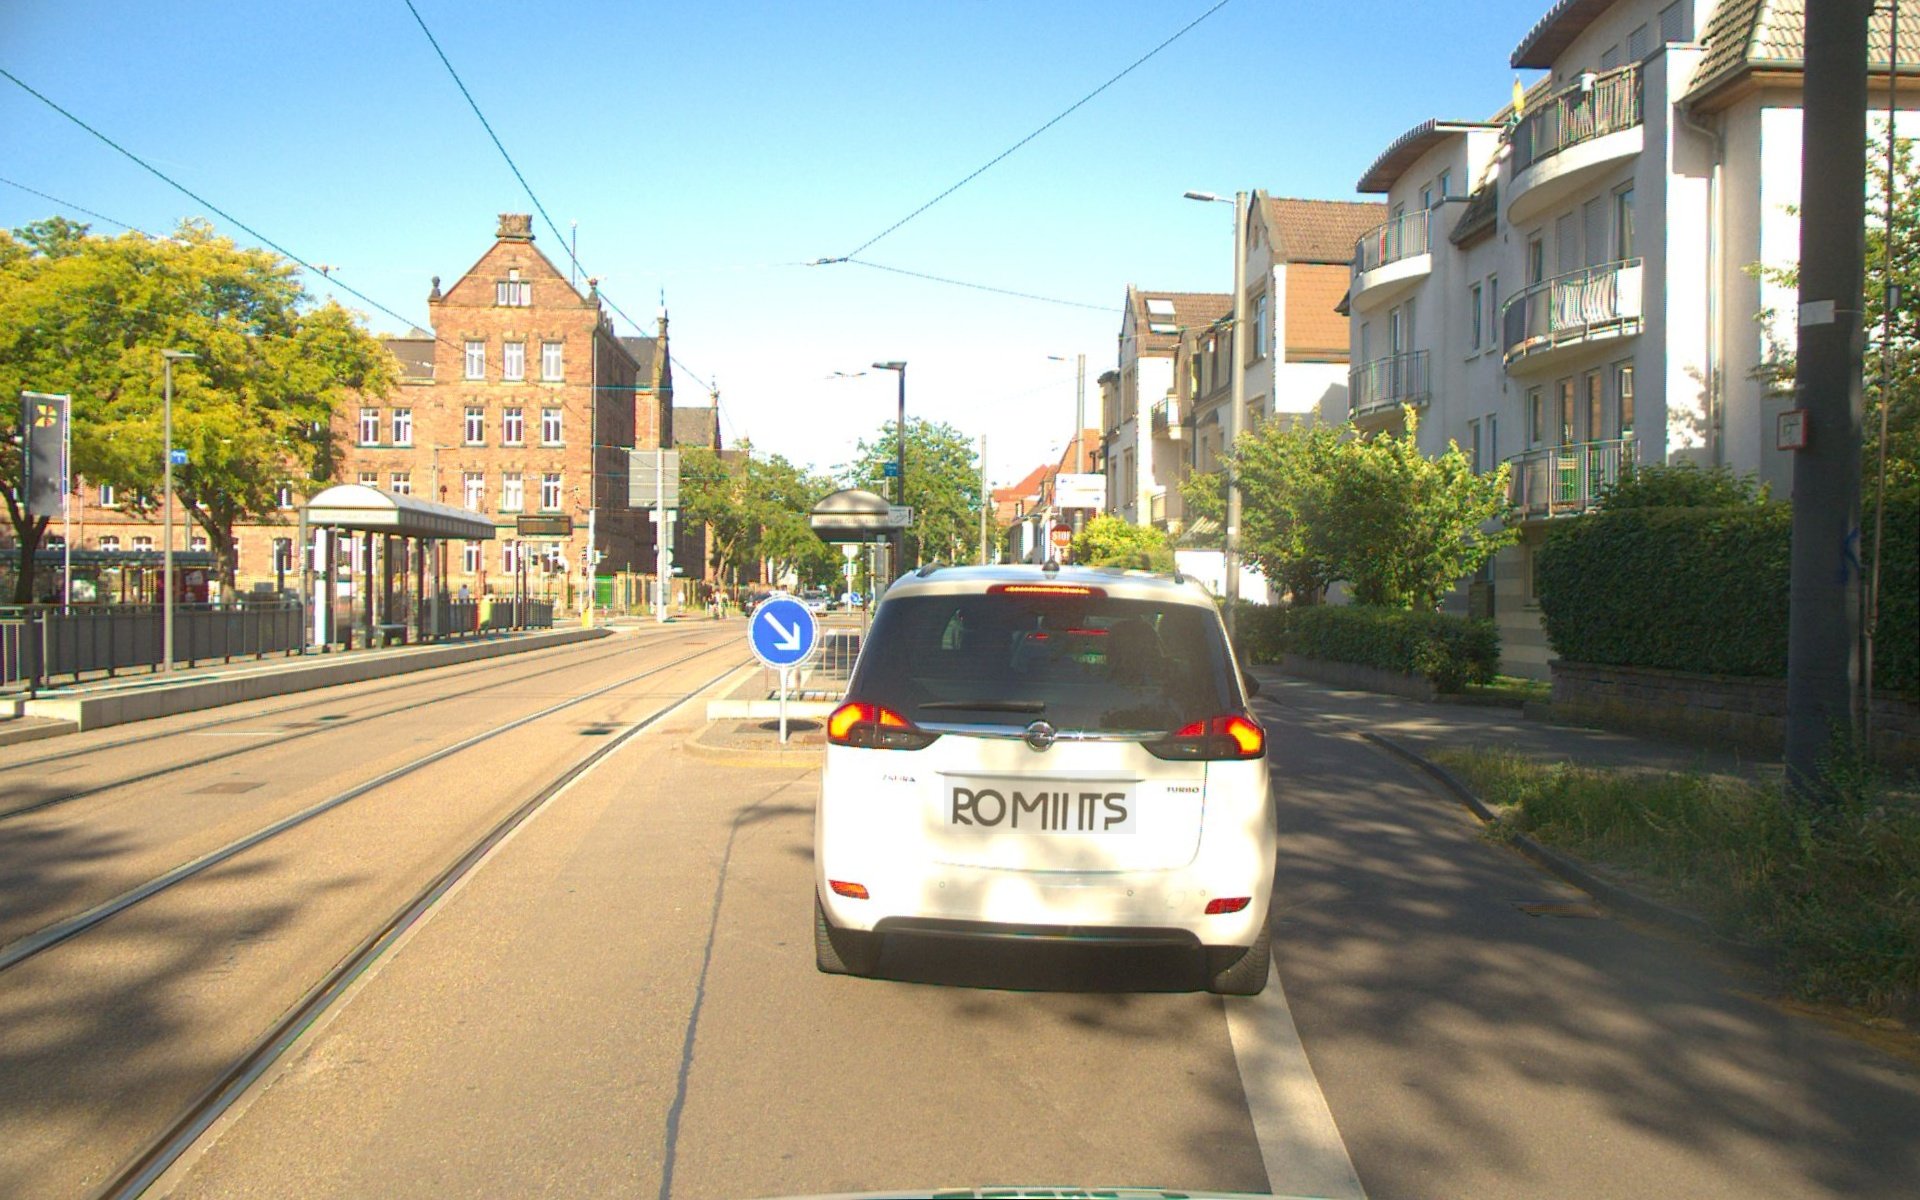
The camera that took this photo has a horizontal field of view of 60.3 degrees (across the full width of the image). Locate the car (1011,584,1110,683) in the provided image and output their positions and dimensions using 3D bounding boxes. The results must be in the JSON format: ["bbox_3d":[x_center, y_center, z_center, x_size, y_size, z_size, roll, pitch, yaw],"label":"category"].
[{"bbox_3d":[1.720,0.549,29.269,1.603,1.629,3.855,0,0,1],"label":"car"}]

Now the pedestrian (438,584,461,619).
[{"bbox_3d":[-23.936,0.074,77.512,0.786,1.616,0.934,1,0,-3],"label":"pedestrian"}]

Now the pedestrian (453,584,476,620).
[{"bbox_3d":[-22.331,0.086,74.563,0.786,1.616,0.934,1,0,-3],"label":"pedestrian"}]

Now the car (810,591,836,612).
[{"bbox_3d":[-11.309,0.112,136.460,1.953,1.657,3.998,0,0,-3],"label":"car"}]

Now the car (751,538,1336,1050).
[{"bbox_3d":[0.463,0.648,7.595,1.951,1.673,3.996,1,0,6],"label":"car"}]

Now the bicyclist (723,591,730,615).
[{"bbox_3d":[-15.378,0.193,108.908,0.435,1.580,0.495,0,0,-4],"label":"bicyclist"}]

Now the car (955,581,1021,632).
[{"bbox_3d":[0.835,0.188,51.765,1.953,1.529,3.999,0,0,-1],"label":"car"}]

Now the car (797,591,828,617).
[{"bbox_3d":[-9.541,0.239,107.157,1.955,1.657,3.996,0,0,-5],"label":"car"}]

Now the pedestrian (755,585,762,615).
[{"bbox_3d":[-13.642,0.000,111.756,0.435,2.049,0.495,0,0,-4],"label":"pedestrian"}]

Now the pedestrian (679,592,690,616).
[{"bbox_3d":[-20.664,0.303,123.940,0.720,1.744,0.753,1,-1,-6],"label":"pedestrian"}]

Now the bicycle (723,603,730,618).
[{"bbox_3d":[-15.388,0.668,108.915,0.337,0.966,0.996,1,0,-4],"label":"bicycle"}]

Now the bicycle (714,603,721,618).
[{"bbox_3d":[-15.606,0.654,106.363,0.337,0.966,0.996,1,0,-4],"label":"bicycle"}]

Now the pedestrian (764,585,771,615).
[{"bbox_3d":[-13.060,0.011,112.043,0.435,2.049,0.495,0,0,-4],"label":"pedestrian"}]

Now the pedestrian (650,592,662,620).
[{"bbox_3d":[-19.541,0.390,106.399,0.720,1.744,0.705,1,-1,-7],"label":"pedestrian"}]

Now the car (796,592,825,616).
[{"bbox_3d":[-10.346,0.254,114.251,1.955,1.657,3.996,0,0,-5],"label":"car"}]

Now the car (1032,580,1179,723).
[{"bbox_3d":[1.747,0.584,20.841,1.603,1.629,3.855,0,0,1],"label":"car"}]

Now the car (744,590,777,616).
[{"bbox_3d":[-12.851,0.190,106.884,1.955,1.657,3.996,0,0,-5],"label":"car"}]

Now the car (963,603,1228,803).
[{"bbox_3d":[1.038,0.748,13.982,1.912,1.422,4.001,0,0,1],"label":"car"}]

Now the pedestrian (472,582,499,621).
[{"bbox_3d":[-20.975,0.059,73.167,0.877,1.713,1.029,1,0,-1],"label":"pedestrian"}]

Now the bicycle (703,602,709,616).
[{"bbox_3d":[-17.650,0.654,114.856,0.337,0.966,0.996,1,0,-4],"label":"bicycle"}]

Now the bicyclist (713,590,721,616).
[{"bbox_3d":[-15.148,0.172,103.045,0.435,1.580,0.742,0,0,-4],"label":"bicyclist"}]

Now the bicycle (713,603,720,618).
[{"bbox_3d":[-15.157,0.647,102.837,0.337,0.966,1.159,1,0,-4],"label":"bicycle"}]

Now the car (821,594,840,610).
[{"bbox_3d":[-13.803,0.201,175.872,1.955,1.657,3.984,0,0,-5],"label":"car"}]

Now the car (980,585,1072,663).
[{"bbox_3d":[1.386,0.490,36.189,1.793,1.607,4.009,0,0,-1],"label":"car"}]

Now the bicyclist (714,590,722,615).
[{"bbox_3d":[-15.569,0.179,106.321,0.435,1.580,0.495,0,0,-4],"label":"bicyclist"}]
